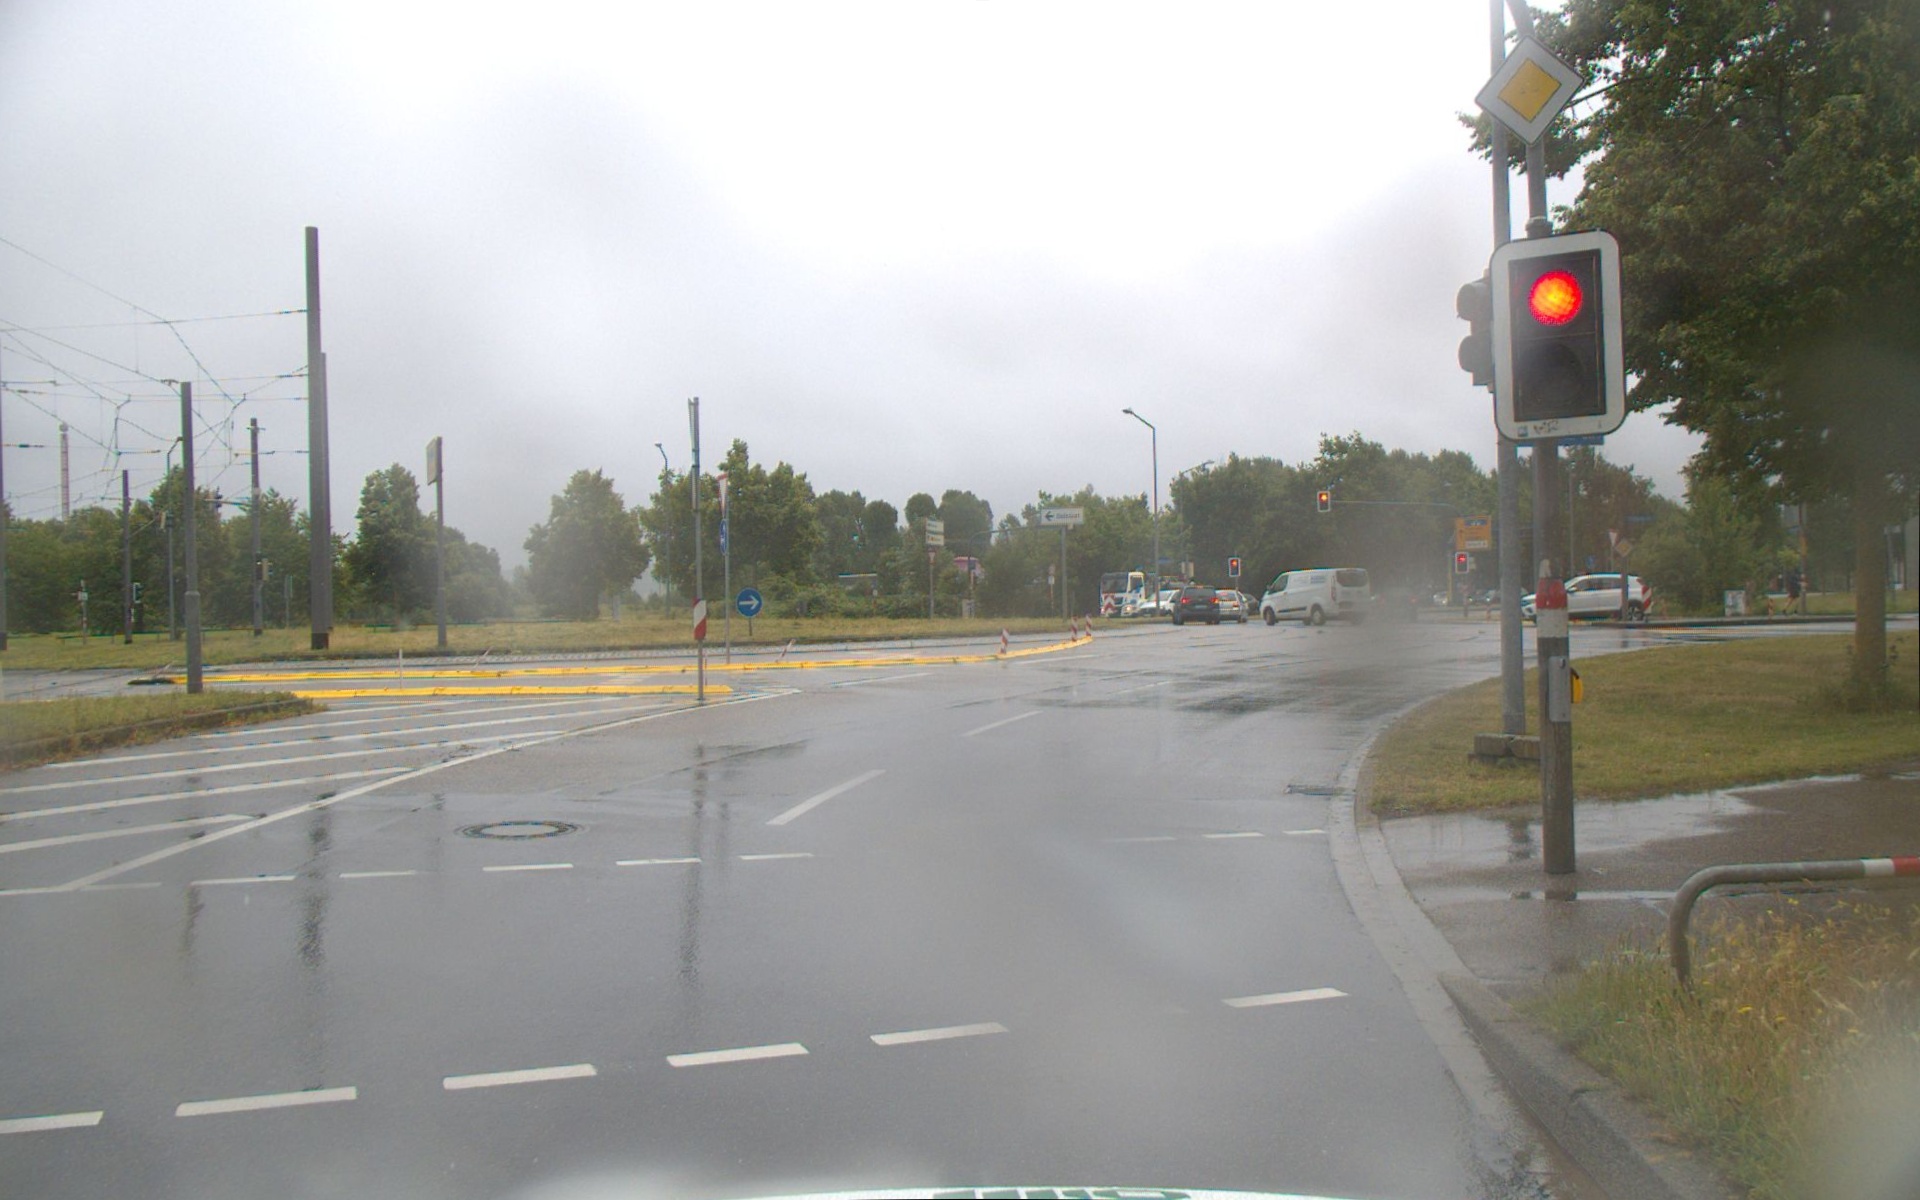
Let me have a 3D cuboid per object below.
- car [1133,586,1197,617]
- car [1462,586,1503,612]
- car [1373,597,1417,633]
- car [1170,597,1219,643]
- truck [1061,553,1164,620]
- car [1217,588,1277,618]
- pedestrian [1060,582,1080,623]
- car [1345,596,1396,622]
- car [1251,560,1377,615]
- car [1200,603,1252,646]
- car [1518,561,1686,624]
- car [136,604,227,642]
[{"bbox_3d":[11.950,0.082,96.395,1.769,1.691,4.112,0,-1,40],"label":"car"},{"bbox_3d":[42.831,-0.045,135.552,1.961,2.049,3.983,0,-1,37],"label":"car"},{"bbox_3d":[18.738,0.632,71.323,1.583,1.479,3.991,-1,0,11],"label":"car"},{"bbox_3d":[10.190,0.866,71.549,1.951,1.884,4.779,1,-1,9],"label":"car"},{"bbox_3d":[6.947,-0.547,74.213,2.411,2.733,8.058,1,-1,22],"label":"truck"},{"bbox_3d":[17.047,0.203,98.025,1.769,1.691,3.979,0,-1,40],"label":"car"},{"bbox_3d":[3.615,0.088,54.359,0.445,1.327,0.484,-1,0,38],"label":"pedestrian"},{"bbox_3d":[28.085,0.619,113.105,1.769,1.691,3.979,0,-1,40],"label":"car"},{"bbox_3d":[12.991,-0.433,60.910,1.971,1.884,4.731,1,-1,-28],"label":"car"},{"bbox_3d":[12.463,1.151,77.321,1.951,1.884,4.779,1,-1,14],"label":"car"},{"bbox_3d":[20.499,-0.238,52.991,4.658,1.883,2.002,-1,0,10],"label":"car"},{"bbox_3d":[-39.964,1.199,85.002,1.644,1.848,3.994,1,-1,28],"label":"car"}]
